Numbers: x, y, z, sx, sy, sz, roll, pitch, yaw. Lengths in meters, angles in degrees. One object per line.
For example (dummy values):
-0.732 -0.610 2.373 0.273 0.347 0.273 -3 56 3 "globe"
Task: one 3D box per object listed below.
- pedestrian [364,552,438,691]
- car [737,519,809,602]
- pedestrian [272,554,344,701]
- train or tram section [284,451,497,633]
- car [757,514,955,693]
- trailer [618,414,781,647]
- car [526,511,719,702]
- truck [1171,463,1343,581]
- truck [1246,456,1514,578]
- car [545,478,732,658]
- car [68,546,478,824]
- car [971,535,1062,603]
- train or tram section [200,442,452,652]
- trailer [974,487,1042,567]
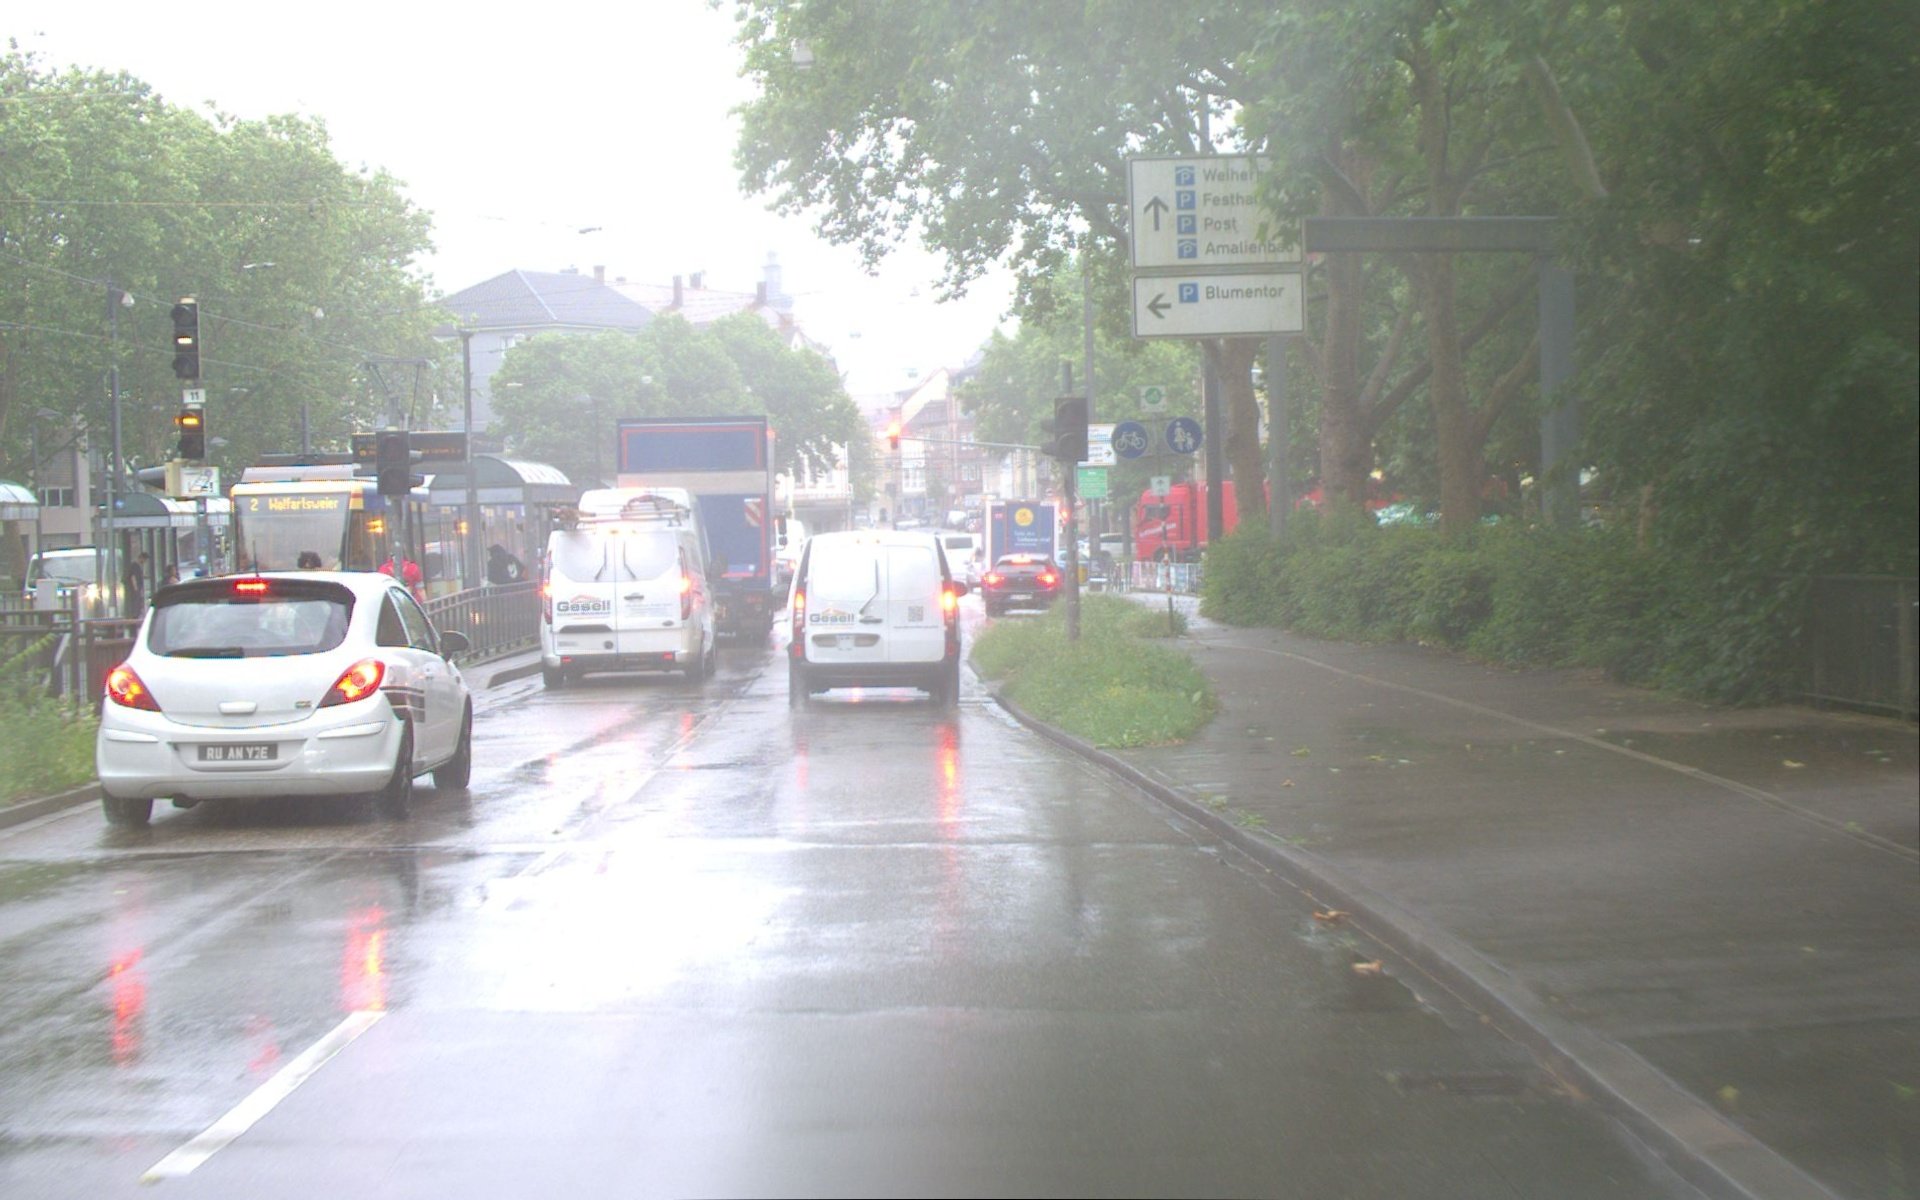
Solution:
-6.992 0.274 43.002 0.790 1.709 0.771 1 -1 -2 "pedestrian"
-5.625 -1.183 103.972 1.993 2.434 4.612 1 0 -1 "car"
-7.807 0.322 41.192 0.715 1.739 0.750 -1 0 -2 "pedestrian"
-11.173 -1.201 68.271 2.979 3.274 8.432 -2 2 -2 "train or tram section"
-1.072 0.037 36.068 1.959 1.771 3.570 0 0 -1 "car"
-4.555 -1.222 61.313 2.590 3.886 7.637 0 1 -2 "trailer"
-4.211 0.084 43.666 1.993 2.254 5.289 0 0 -1 "car"
13.179 -3.461 152.138 7.160 4.883 3.288 -2 1 10 "truck"
18.507 -3.650 151.203 11.367 4.883 3.288 -2 1 10 "truck"
-4.794 -0.446 52.156 2.329 2.548 6.114 0 0 -1 "car"
-3.945 0.457 20.312 1.725 1.474 3.805 0 0 -1 "car"
1.353 -0.741 80.967 1.994 1.536 4.000 -1 1 3 "car"
-10.886 -0.972 59.874 2.961 3.274 8.361 -2 2 -2 "train or tram section"
1.465 -2.183 104.360 1.993 2.309 4.668 0 0 1 "trailer"
